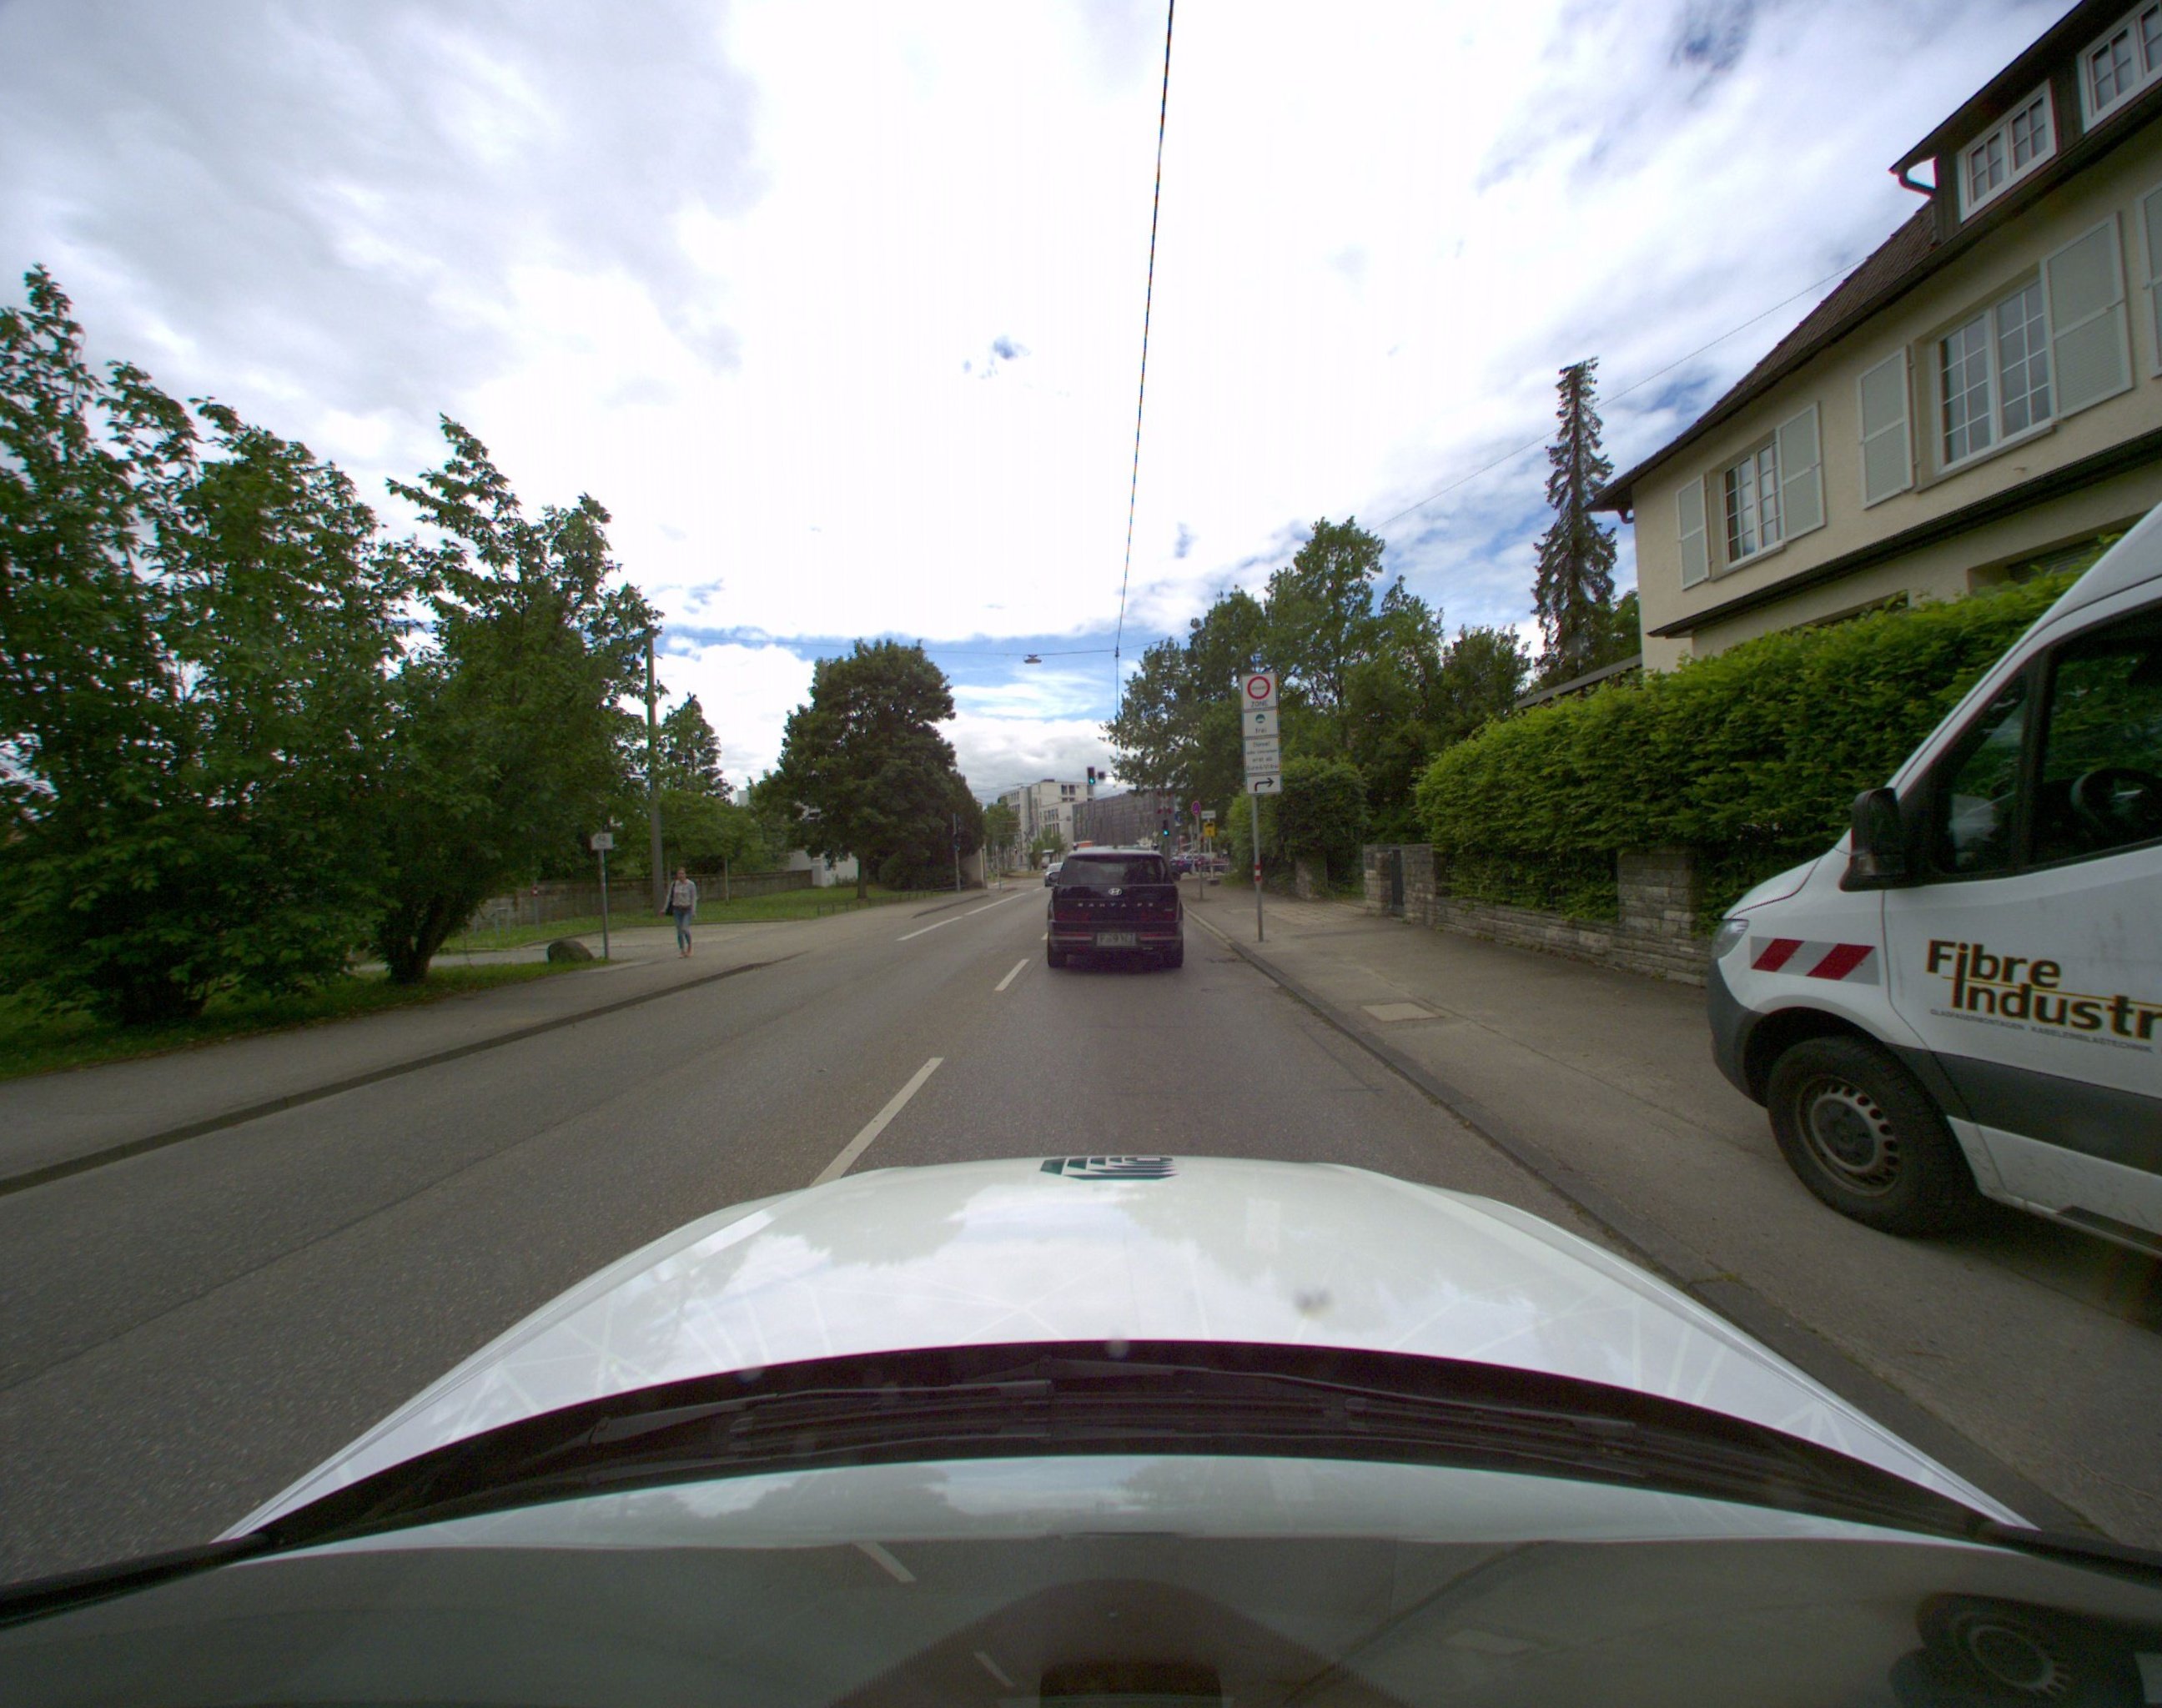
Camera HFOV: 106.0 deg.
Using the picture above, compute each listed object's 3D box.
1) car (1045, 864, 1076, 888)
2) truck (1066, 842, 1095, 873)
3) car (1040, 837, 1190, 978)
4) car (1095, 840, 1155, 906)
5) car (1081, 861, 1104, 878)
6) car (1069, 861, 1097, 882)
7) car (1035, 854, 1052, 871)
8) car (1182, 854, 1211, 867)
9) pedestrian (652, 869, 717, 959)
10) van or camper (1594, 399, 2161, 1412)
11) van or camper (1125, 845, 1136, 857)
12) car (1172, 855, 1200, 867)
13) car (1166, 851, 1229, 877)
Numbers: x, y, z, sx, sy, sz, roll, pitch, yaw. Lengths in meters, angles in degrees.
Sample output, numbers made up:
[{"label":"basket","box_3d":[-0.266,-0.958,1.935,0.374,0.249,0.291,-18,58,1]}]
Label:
[{"label":"car","box_3d":[-1.376,1.383,53.173,1.879,1.420,3.995,-2,-1,-3]},{"label":"truck","box_3d":[-0.131,0.515,107.903,3.101,3.859,9.609,-2,-1,-3]},{"label":"car","box_3d":[0.523,0.700,12.380,1.889,1.776,3.996,1,-1,2]},{"label":"car","box_3d":[1.480,0.625,27.679,1.889,2.042,3.996,1,-1,2]},{"label":"car","box_3d":[1.192,1.630,84.377,1.881,1.639,3.890,-2,-1,-6]},{"label":"car","box_3d":[0.149,1.456,69.252,1.881,1.639,3.890,-2,-1,-6]},{"label":"car","box_3d":[-5.559,1.265,119.837,2.328,2.315,4.951,-2,-1,-3]},{"label":"car","box_3d":[15.469,0.900,109.232,3.672,1.584,1.690,-3,-1,5]},{"label":"pedestrian","box_3d":[-7.904,1.175,16.266,0.762,1.748,0.907,-1,-1,10]},{"label":"van or camper","box_3d":[3.810,0.032,0.692,2.333,2.494,6.600,-5,-2,0]},{"label":"van or camper","box_3d":[8.983,-0.496,147.794,1.790,1.999,3.821,1,-1,-1]},{"label":"car","box_3d":[15.600,1.045,121.413,3.967,1.584,1.892,-3,-1,5]},{"label":"car","box_3d":[8.444,0.738,58.855,4.310,1.660,1.855,-2,-1,-32]}]
